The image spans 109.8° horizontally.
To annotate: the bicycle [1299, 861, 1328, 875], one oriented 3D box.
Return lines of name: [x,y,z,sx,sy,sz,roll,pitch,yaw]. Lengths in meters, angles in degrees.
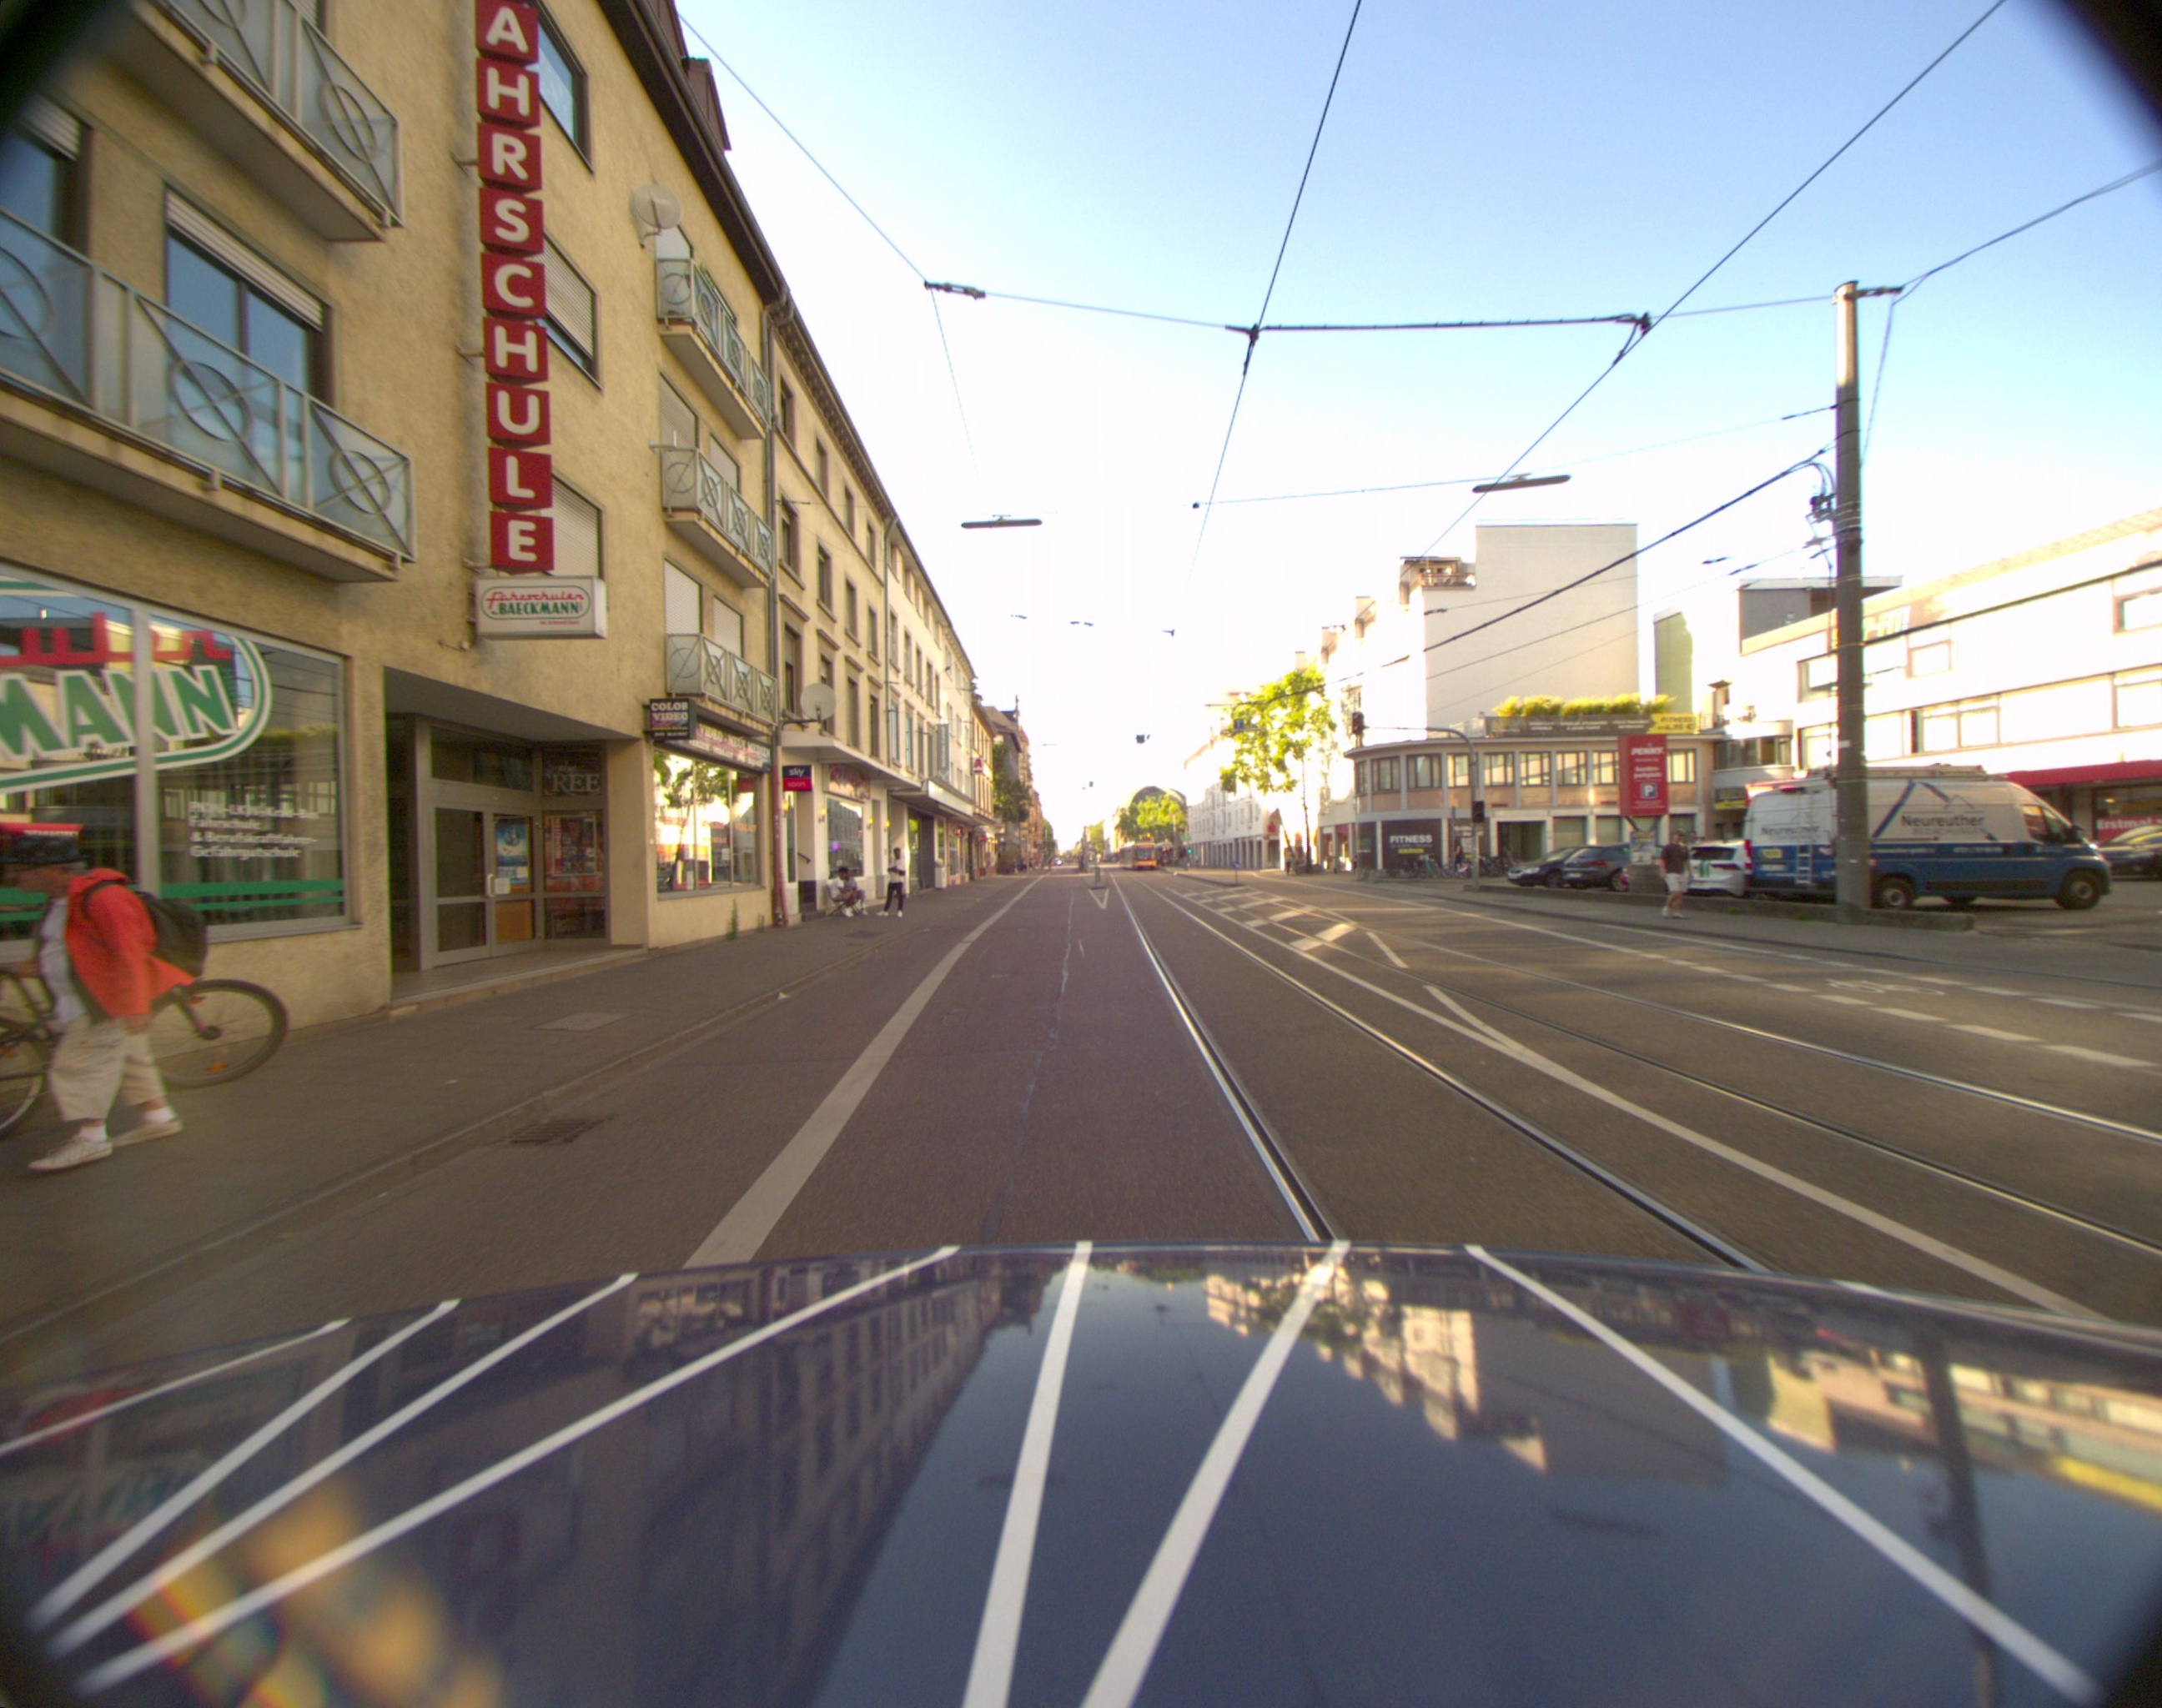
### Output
bicycle: [16.317,0.970,53.296,1.849,0.907,0.389,-2,0,5]

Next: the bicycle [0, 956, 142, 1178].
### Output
bicycle: [-5.841,1.133,3.331,0.556,1.054,2.311,2,0,0]

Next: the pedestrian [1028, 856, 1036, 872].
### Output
pedestrian: [-5.354,1.092,82.991,0.807,1.789,0.761,0,0,0]

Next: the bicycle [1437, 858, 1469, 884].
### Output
bicycle: [16.829,0.765,34.433,0.449,1.180,1.831,0,-1,-3]

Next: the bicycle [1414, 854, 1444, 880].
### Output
bicycle: [15.909,0.600,34.805,0.449,1.180,1.831,0,-1,-3]

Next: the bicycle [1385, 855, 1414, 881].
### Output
bicycle: [14.851,0.670,35.468,0.447,1.180,1.830,0,-1,-7]

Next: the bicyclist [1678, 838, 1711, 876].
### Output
bicyclist: [24.898,0.122,30.828,0.838,1.540,0.690,0,-1,-17]

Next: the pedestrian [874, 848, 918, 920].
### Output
pedestrian: [-4.885,0.796,20.100,0.705,1.801,0.680,6,-1,15]

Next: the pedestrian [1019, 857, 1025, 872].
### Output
pedestrian: [-6.869,1.186,88.815,0.650,1.760,0.697,0,0,4]

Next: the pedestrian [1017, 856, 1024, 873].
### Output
pedestrian: [-6.333,1.088,79.457,0.651,1.706,0.805,0,0,-7]

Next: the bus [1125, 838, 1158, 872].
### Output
bus: [6.838,0.167,87.561,2.818,3.546,13.679,0,0,0]

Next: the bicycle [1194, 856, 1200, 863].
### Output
bicycle: [16.105,0.761,105.590,0.518,0.983,1.727,-2,0,0]

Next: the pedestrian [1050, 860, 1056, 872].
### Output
pedestrian: [-3.920,1.697,106.136,0.694,1.760,0.697,0,0,4]

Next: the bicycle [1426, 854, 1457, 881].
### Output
bicycle: [16.379,0.606,34.580,0.444,1.180,1.831,0,-1,-3]

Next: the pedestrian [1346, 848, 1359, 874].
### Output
pedestrian: [18.050,0.476,50.575,0.630,1.706,0.827,0,0,34]

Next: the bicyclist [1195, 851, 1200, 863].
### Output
bicyclist: [16.243,0.394,105.544,0.515,1.690,0.807,-2,0,0]

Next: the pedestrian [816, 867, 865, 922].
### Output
pedestrian: [-5.899,0.984,18.635,0.833,1.248,0.705,6,-1,-36]

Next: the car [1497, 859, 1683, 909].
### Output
car: [16.707,0.973,25.119,4.907,1.574,1.880,0,-1,0]

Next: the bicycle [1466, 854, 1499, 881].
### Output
bicycle: [18.041,0.610,34.177,0.449,1.180,1.831,0,-1,-3]

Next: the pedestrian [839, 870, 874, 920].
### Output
pedestrian: [-5.841,1.045,19.715,0.708,1.167,1.014,6,-1,-20]

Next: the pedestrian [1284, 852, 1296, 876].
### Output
pedestrian: [15.129,0.723,54.998,0.630,1.706,0.826,0,0,27]

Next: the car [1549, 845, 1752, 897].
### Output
car: [16.710,0.501,22.447,4.600,1.466,1.880,0,-1,0]

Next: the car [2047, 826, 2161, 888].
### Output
car: [27.906,0.074,19.444,3.998,1.499,1.999,0,0,-3]

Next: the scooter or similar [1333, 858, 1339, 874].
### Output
scooter or similar: [17.475,0.803,52.044,0.335,1.105,1.182,0,0,23]

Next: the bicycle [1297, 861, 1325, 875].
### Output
bicycle: [16.420,1.008,54.299,1.849,0.906,0.390,-2,-2,5]

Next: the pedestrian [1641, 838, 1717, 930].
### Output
pedestrian: [12.134,0.605,15.447,0.835,1.821,0.909,0,0,-1]

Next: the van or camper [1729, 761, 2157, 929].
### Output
van or camper: [16.518,-0.148,14.850,5.620,2.810,2.315,-2,-1,0]

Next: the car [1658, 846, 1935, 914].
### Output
car: [16.213,0.585,17.399,4.600,1.466,1.880,0,-1,0]

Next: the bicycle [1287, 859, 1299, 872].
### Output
bicycle: [15.186,0.849,54.441,0.389,0.907,1.851,-2,0,0]

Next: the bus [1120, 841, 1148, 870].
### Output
bus: [6.891,0.271,100.916,2.818,3.546,13.679,0,0,0]

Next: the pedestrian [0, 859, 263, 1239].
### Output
pedestrian: [-5.008,0.872,3.792,0.825,1.618,0.800,6,-1,2]

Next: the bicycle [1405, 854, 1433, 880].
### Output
bicycle: [15.432,0.585,34.737,0.441,1.180,1.831,0,-1,-1]

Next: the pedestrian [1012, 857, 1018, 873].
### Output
pedestrian: [-6.826,1.135,78.493,0.651,1.569,0.682,0,0,-7]

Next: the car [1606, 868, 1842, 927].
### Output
car: [16.705,1.111,19.917,4.600,1.466,1.880,0,-1,0]

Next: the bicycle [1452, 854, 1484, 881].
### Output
bicycle: [17.439,0.608,34.284,0.449,1.180,1.831,0,-1,-3]

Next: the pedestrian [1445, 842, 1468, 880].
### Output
pedestrian: [16.808,0.332,34.011,0.682,1.687,0.683,0,0,-3]
